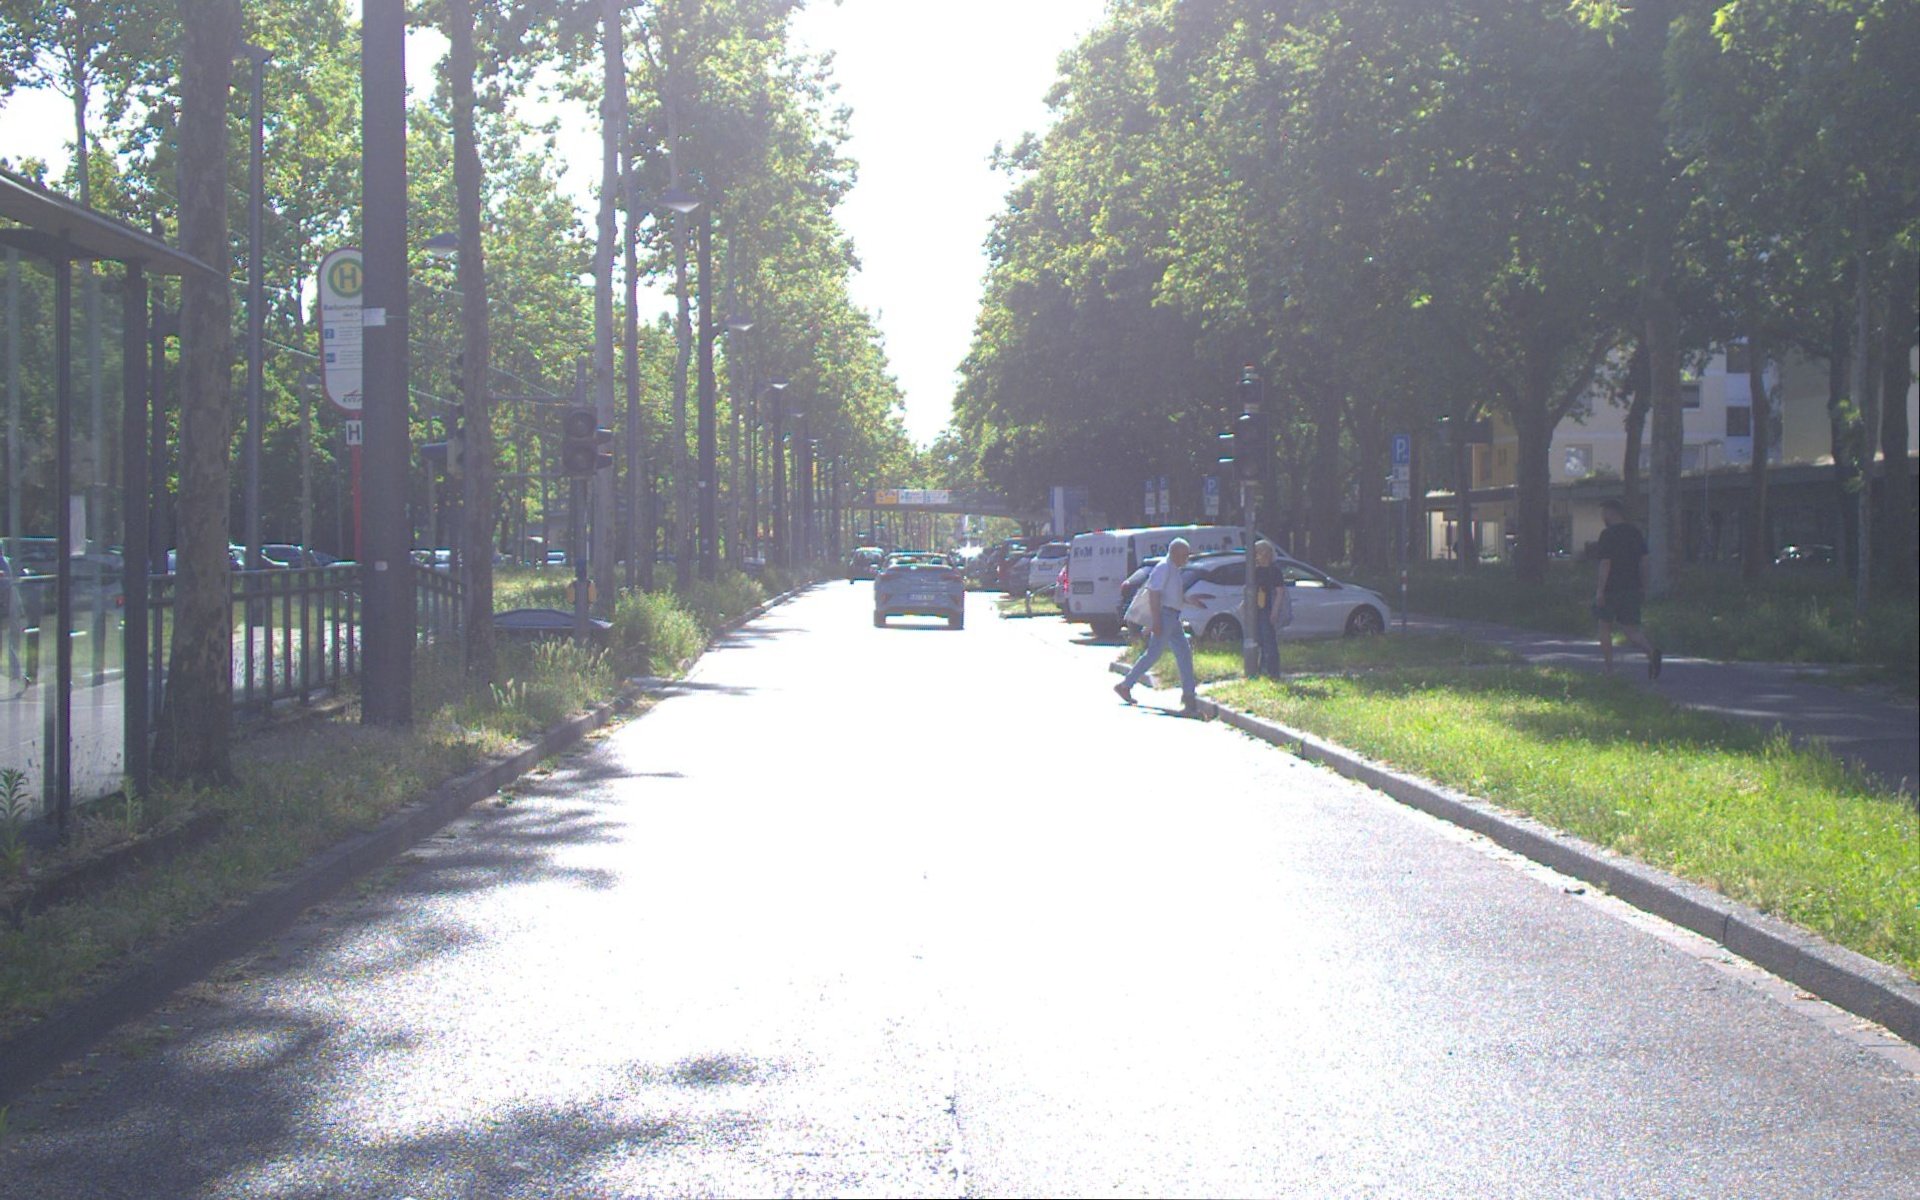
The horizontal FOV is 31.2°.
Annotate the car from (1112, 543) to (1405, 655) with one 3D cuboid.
[{"bbox_3d":[4.386,-0.033,50.423,3.986,1.464,1.761,-3,2,-32],"label":"car"}]

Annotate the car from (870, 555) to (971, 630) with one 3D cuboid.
[{"bbox_3d":[-0.827,-0.167,69.311,1.922,1.406,4.000,1,1,-2],"label":"car"}]

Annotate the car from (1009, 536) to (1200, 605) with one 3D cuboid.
[{"bbox_3d":[3.156,-0.650,74.605,4.174,1.407,1.719,-2,1,-44],"label":"car"}]

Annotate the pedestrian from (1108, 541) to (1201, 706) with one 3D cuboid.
[{"bbox_3d":[2.055,0.239,36.218,0.842,1.716,0.829,0,1,14],"label":"pedestrian"}]

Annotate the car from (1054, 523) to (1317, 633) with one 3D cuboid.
[{"bbox_3d":[4.013,-0.404,60.681,4.657,1.846,1.830,-2,1,-41],"label":"car"}]

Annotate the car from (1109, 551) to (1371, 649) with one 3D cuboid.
[{"bbox_3d":[4.616,-0.011,56.562,3.986,1.425,1.799,-3,2,-32],"label":"car"}]

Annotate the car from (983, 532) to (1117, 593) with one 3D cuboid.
[{"bbox_3d":[2.807,-1.168,106.856,4.073,1.804,1.650,-2,1,-41],"label":"car"}]

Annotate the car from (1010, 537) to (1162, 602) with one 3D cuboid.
[{"bbox_3d":[3.441,-0.826,93.282,4.017,1.699,1.760,-2,1,-42],"label":"car"}]

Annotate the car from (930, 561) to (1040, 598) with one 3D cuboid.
[{"bbox_3d":[1.045,-0.859,141.599,4.482,1.438,1.855,-2,1,-44],"label":"car"}]

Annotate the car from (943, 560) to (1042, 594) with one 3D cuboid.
[{"bbox_3d":[1.451,-1.017,151.531,4.318,1.420,1.855,-2,1,-44],"label":"car"}]

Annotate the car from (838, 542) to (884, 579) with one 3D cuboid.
[{"bbox_3d":[-4.111,-1.659,143.501,1.849,1.530,3.866,0,1,-1],"label":"car"}]

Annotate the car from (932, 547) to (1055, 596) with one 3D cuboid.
[{"bbox_3d":[1.210,-1.020,121.534,4.308,1.711,1.635,0,1,-40],"label":"car"}]

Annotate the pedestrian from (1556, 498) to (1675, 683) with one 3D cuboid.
[{"bbox_3d":[6.787,-0.104,35.611,0.925,1.878,0.800,0,1,-42],"label":"pedestrian"}]

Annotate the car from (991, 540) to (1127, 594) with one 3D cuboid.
[{"bbox_3d":[2.789,-0.932,96.396,3.777,1.465,1.650,-2,1,-44],"label":"car"}]

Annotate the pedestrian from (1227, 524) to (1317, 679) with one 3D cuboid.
[{"bbox_3d":[3.484,0.014,38.438,0.710,1.700,0.654,-2,0,-35],"label":"pedestrian"}]

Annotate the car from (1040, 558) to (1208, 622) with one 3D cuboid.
[{"bbox_3d":[3.781,-0.240,78.905,3.928,1.368,1.587,-2,1,-44],"label":"car"}]
